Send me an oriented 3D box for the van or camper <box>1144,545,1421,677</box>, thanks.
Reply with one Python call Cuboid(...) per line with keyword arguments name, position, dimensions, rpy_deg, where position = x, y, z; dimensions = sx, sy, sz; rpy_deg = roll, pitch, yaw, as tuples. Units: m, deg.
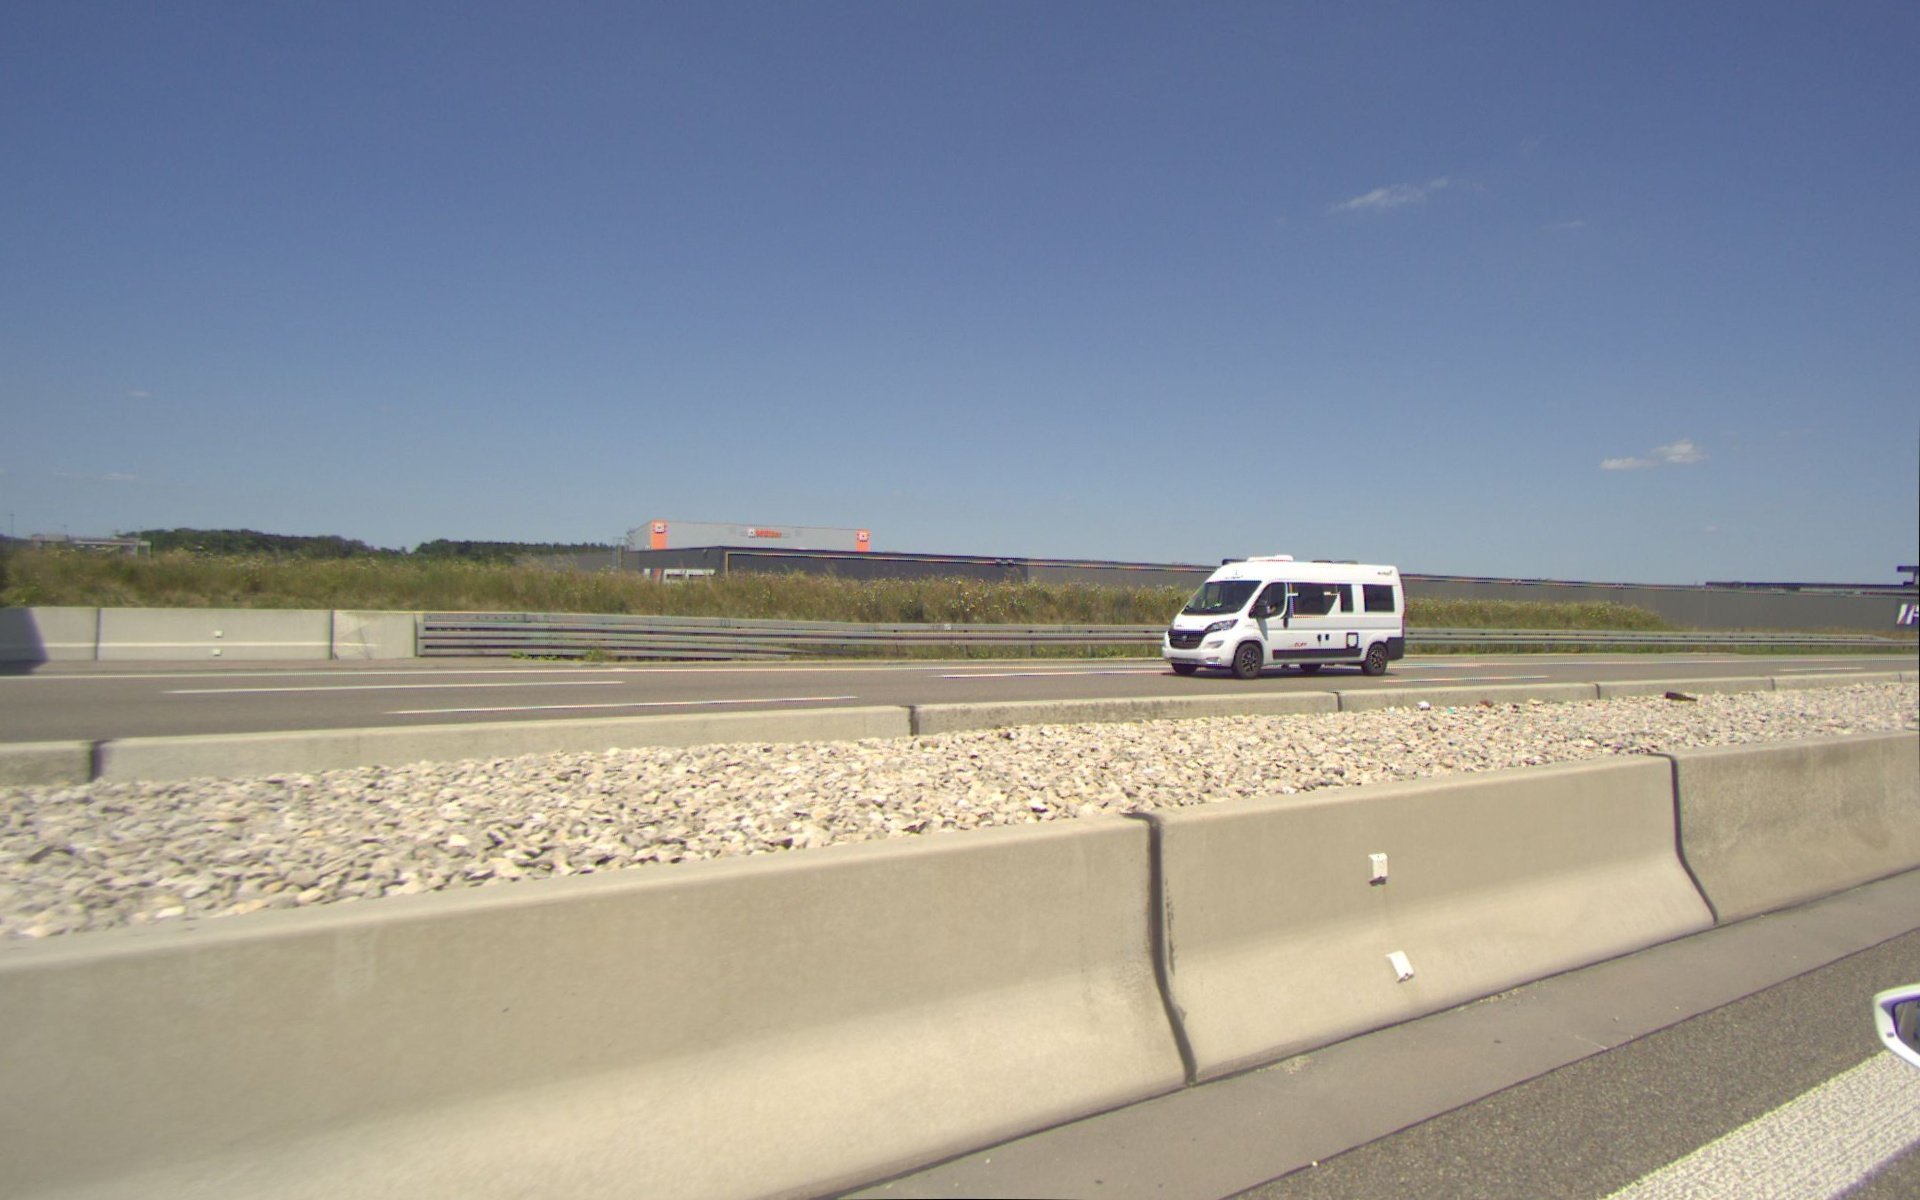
Cuboid(name="van or camper", position=(7.261, 0.268, 22.359), dimensions=(6.243, 2.592, 2.307), rpy_deg=(1, 0, -31))
